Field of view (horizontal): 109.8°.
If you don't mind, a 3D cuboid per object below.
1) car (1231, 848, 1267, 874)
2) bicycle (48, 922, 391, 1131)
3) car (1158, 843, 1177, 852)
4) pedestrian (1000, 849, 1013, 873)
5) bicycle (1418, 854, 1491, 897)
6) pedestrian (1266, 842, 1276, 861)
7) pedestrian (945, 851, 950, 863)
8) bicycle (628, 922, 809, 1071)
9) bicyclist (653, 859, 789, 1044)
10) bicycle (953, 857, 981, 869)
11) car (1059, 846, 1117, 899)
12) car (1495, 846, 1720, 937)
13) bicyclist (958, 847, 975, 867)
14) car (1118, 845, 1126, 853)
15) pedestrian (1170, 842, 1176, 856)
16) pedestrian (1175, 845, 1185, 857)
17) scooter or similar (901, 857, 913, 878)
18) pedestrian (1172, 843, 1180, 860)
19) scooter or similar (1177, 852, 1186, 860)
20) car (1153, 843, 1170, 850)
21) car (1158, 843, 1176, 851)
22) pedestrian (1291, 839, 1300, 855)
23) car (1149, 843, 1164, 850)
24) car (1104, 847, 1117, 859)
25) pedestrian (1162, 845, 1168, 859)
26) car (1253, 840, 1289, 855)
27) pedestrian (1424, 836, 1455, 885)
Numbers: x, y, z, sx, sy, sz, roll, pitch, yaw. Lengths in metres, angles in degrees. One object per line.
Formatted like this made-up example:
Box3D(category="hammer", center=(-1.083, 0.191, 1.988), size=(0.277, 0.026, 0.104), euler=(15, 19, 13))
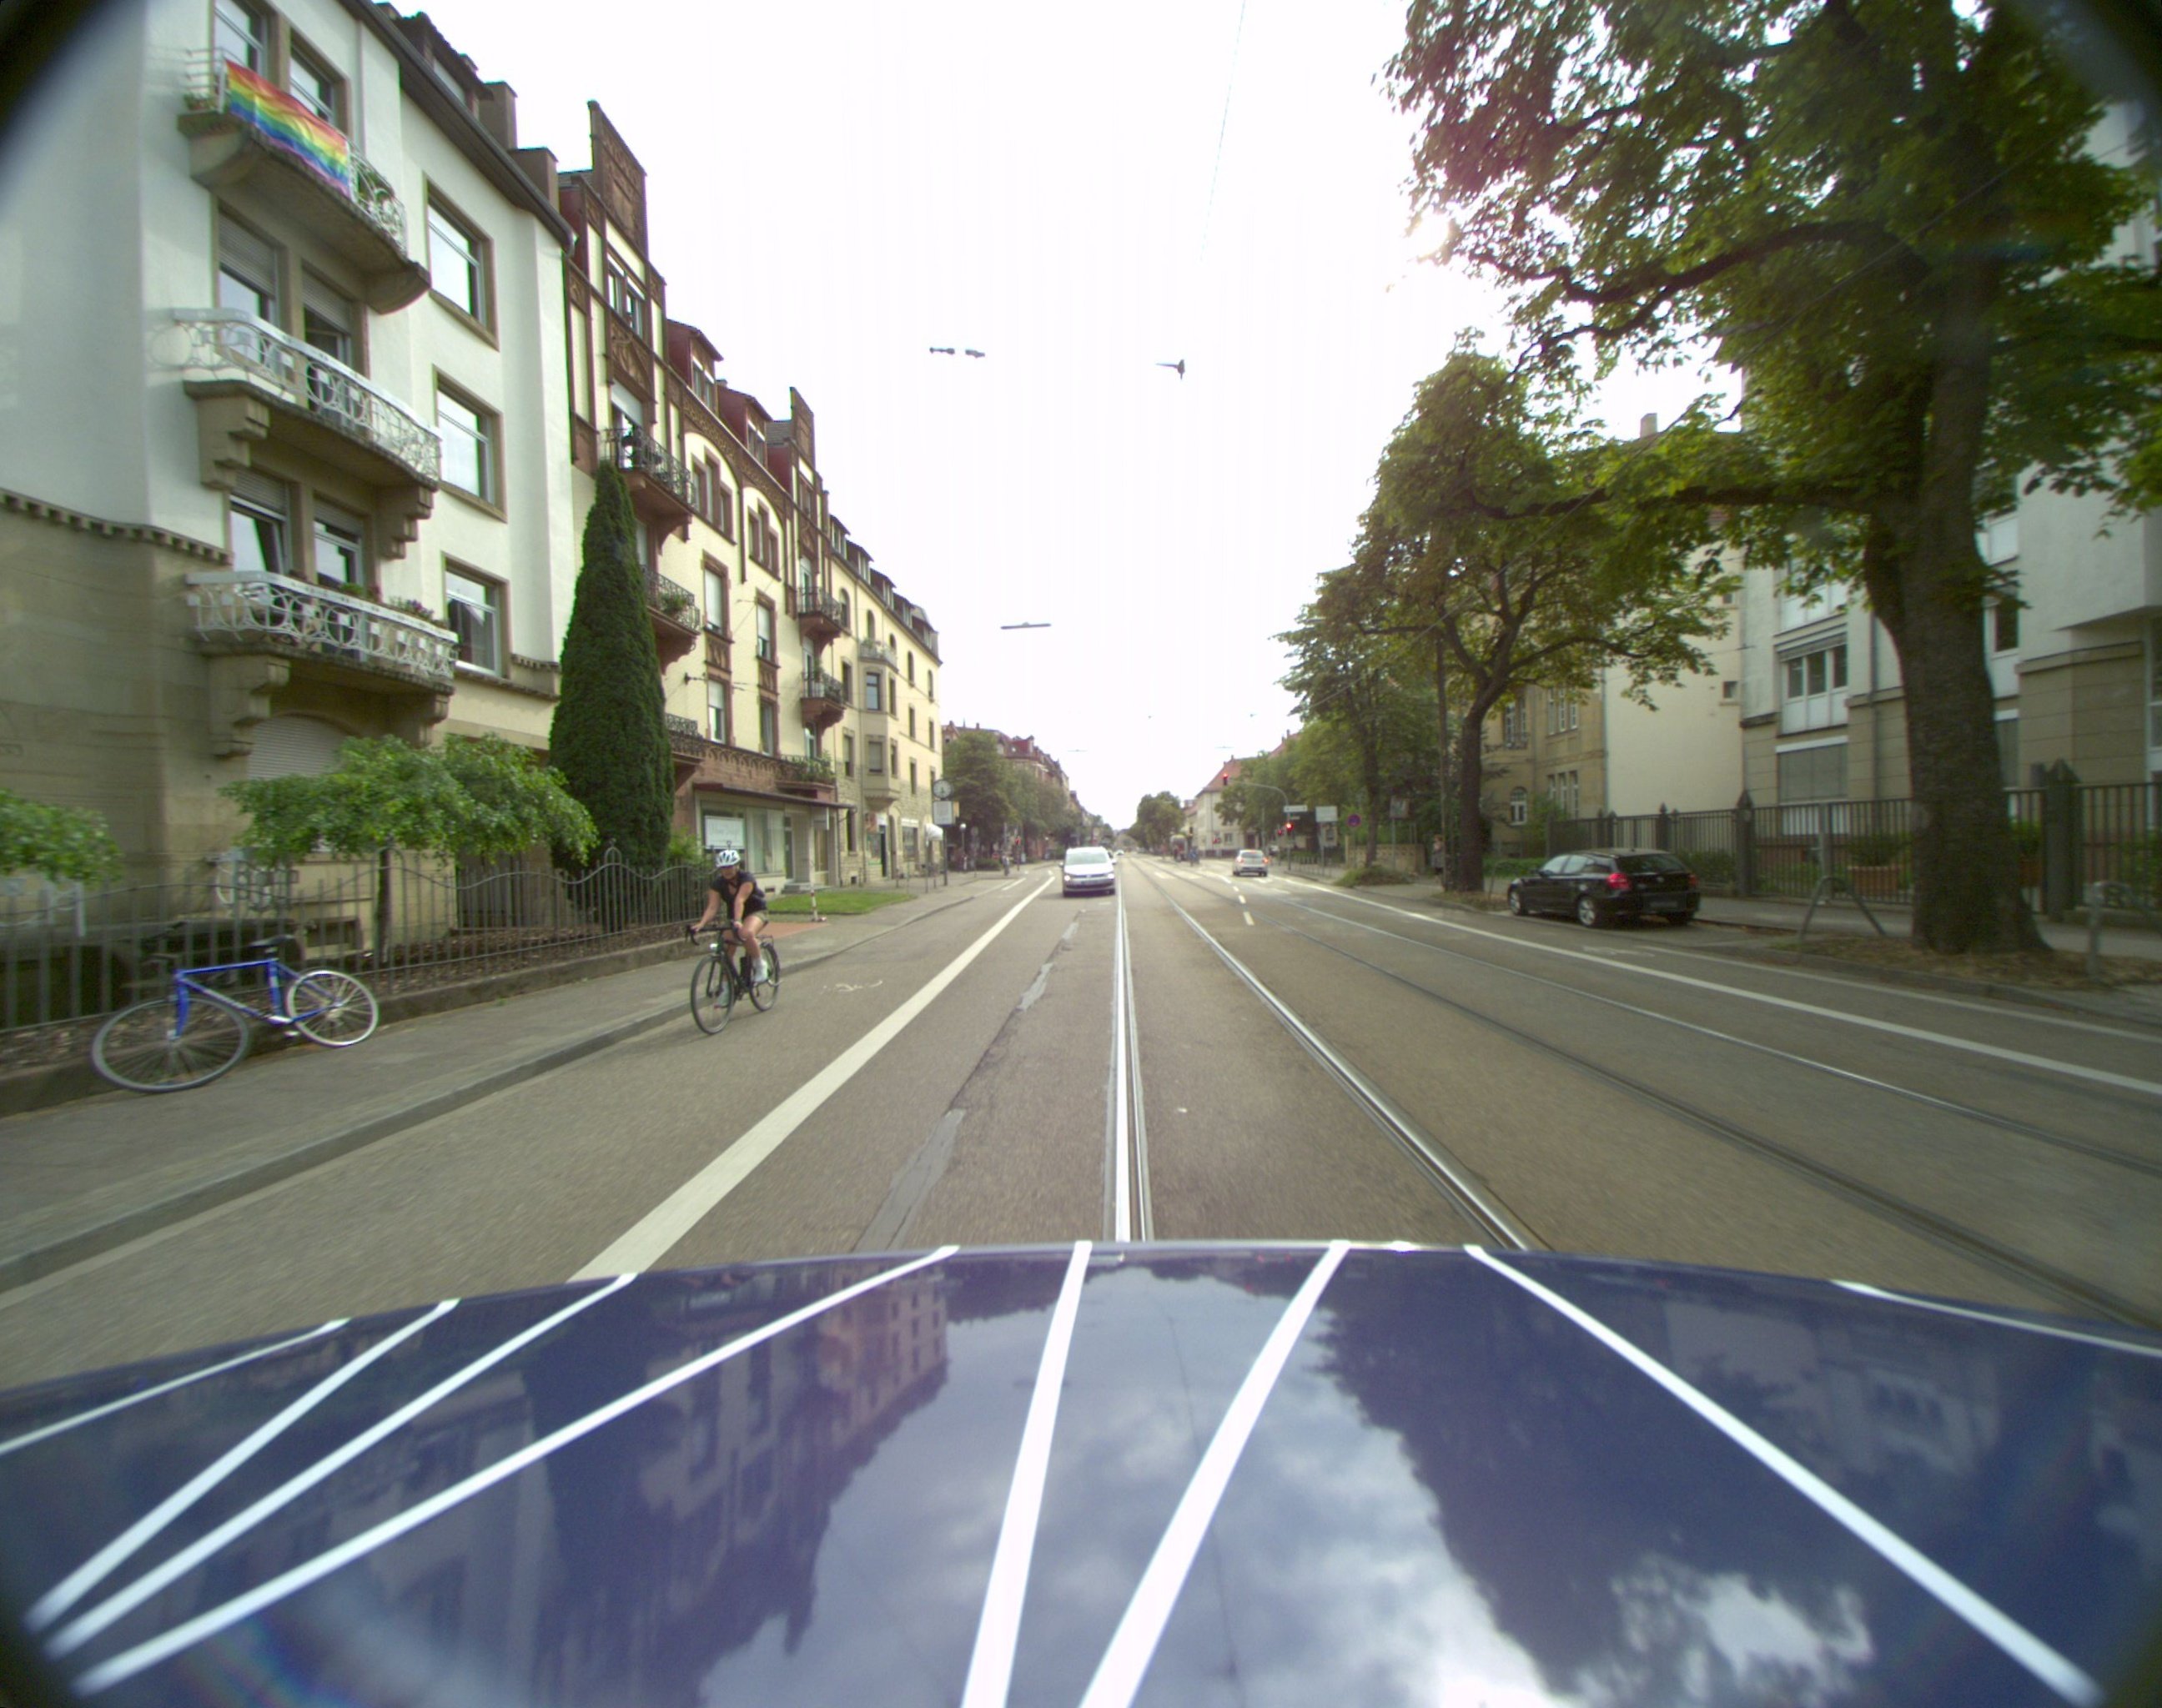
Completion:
Box3D(category="car", center=(9.339, 0.354, 42.503), size=(1.574, 1.408, 4.002), euler=(0, 1, 7))
Box3D(category="bicycle", center=(-6.036, 1.126, 5.500), size=(0.392, 1.096, 1.759), euler=(0, 1, 3))
Box3D(category="car", center=(18.673, -1.498, 164.203), size=(3.995, 1.716, 1.877), euler=(-3, 1, 5))
Box3D(category="pedestrian", center=(-5.147, 0.469, 52.621), size=(0.721, 1.651, 0.759), euler=(3, 1, -1))
Box3D(category="bicycle", center=(11.295, 0.630, 22.960), size=(2.239, 1.168, 0.833), euler=(-3, 1, -30))
Box3D(category="pedestrian", center=(16.596, -0.208, 66.421), size=(0.654, 1.681, 0.712), euler=(-1, 1, -1))
Box3D(category="pedestrian", center=(-18.525, 0.399, 105.510), size=(0.612, 1.684, 0.641), euler=(-2, 1, -2))
Box3D(category="bicycle", center=(-3.312, 1.251, 7.203), size=(0.640, 0.975, 2.071), euler=(-3, 1, 1))
Box3D(category="bicyclist", center=(-3.336, 0.850, 7.147), size=(0.640, 1.561, 1.110), euler=(-3, 1, 1))
Box3D(category="bicycle", center=(-9.984, 0.801, 66.372), size=(0.888, 1.039, 3.088), euler=(-2, 1, -41))
Box3D(category="car", center=(0.323, 0.589, 27.520), size=(1.766, 1.661, 4.330), euler=(-3, 1, 4))
Box3D(category="car", center=(10.040, 0.617, 14.934), size=(1.724, 1.416, 4.166), euler=(-4, 1, 5))
Box3D(category="bicyclist", center=(-10.007, 0.261, 66.376), size=(0.841, 1.680, 1.243), euler=(-2, 0, -41))
Box3D(category="car", center=(10.999, -1.240, 204.546), size=(1.998, 2.002, 4.001), euler=(-3, 1, 5))
Box3D(category="pedestrian", center=(11.405, -0.597, 93.853), size=(0.588, 1.694, 0.619), euler=(-3, 1, -1))
Box3D(category="pedestrian", center=(11.158, -0.336, 85.959), size=(1.032, 1.229, 0.723), euler=(-3, 1, 1))
Box3D(category="scooter or similar", center=(-10.043, 0.754, 43.878), size=(0.398, 1.161, 1.197), euler=(1, 1, 3))
Box3D(category="pedestrian", center=(9.216, -0.247, 73.598), size=(0.684, 1.680, 0.815), euler=(-1, 1, 2))
Box3D(category="scooter or similar", center=(9.633, 0.221, 72.882), size=(0.669, 0.708, 0.604), euler=(1, 3, 35))
Box3D(category="car", center=(20.572, -1.899, 194.286), size=(3.995, 1.716, 1.877), euler=(-3, 1, 5))
Box3D(category="car", center=(19.689, -1.641, 173.496), size=(3.995, 1.716, 1.877), euler=(-3, 1, 5))
Box3D(category="pedestrian", center=(27.709, -0.935, 98.299), size=(0.862, 2.002, 0.765), euler=(-2, 1, 37))
Box3D(category="car", center=(21.278, -2.132, 213.536), size=(3.995, 1.716, 1.877), euler=(-3, 1, 5))
Box3D(category="car", center=(5.227, -0.236, 133.719), size=(1.998, 2.002, 4.001), euler=(-3, 1, 6))
Box3D(category="pedestrian", center=(10.841, -0.258, 98.071), size=(0.658, 1.824, 0.464), euler=(-3, 1, -10))
Box3D(category="car", center=(25.680, -0.912, 102.800), size=(4.188, 1.854, 1.857), euler=(-2, 1, 38))
Box3D(category="pedestrian", center=(13.003, 0.224, 27.562), size=(0.707, 1.725, 0.701), euler=(-3, 1, -2))
